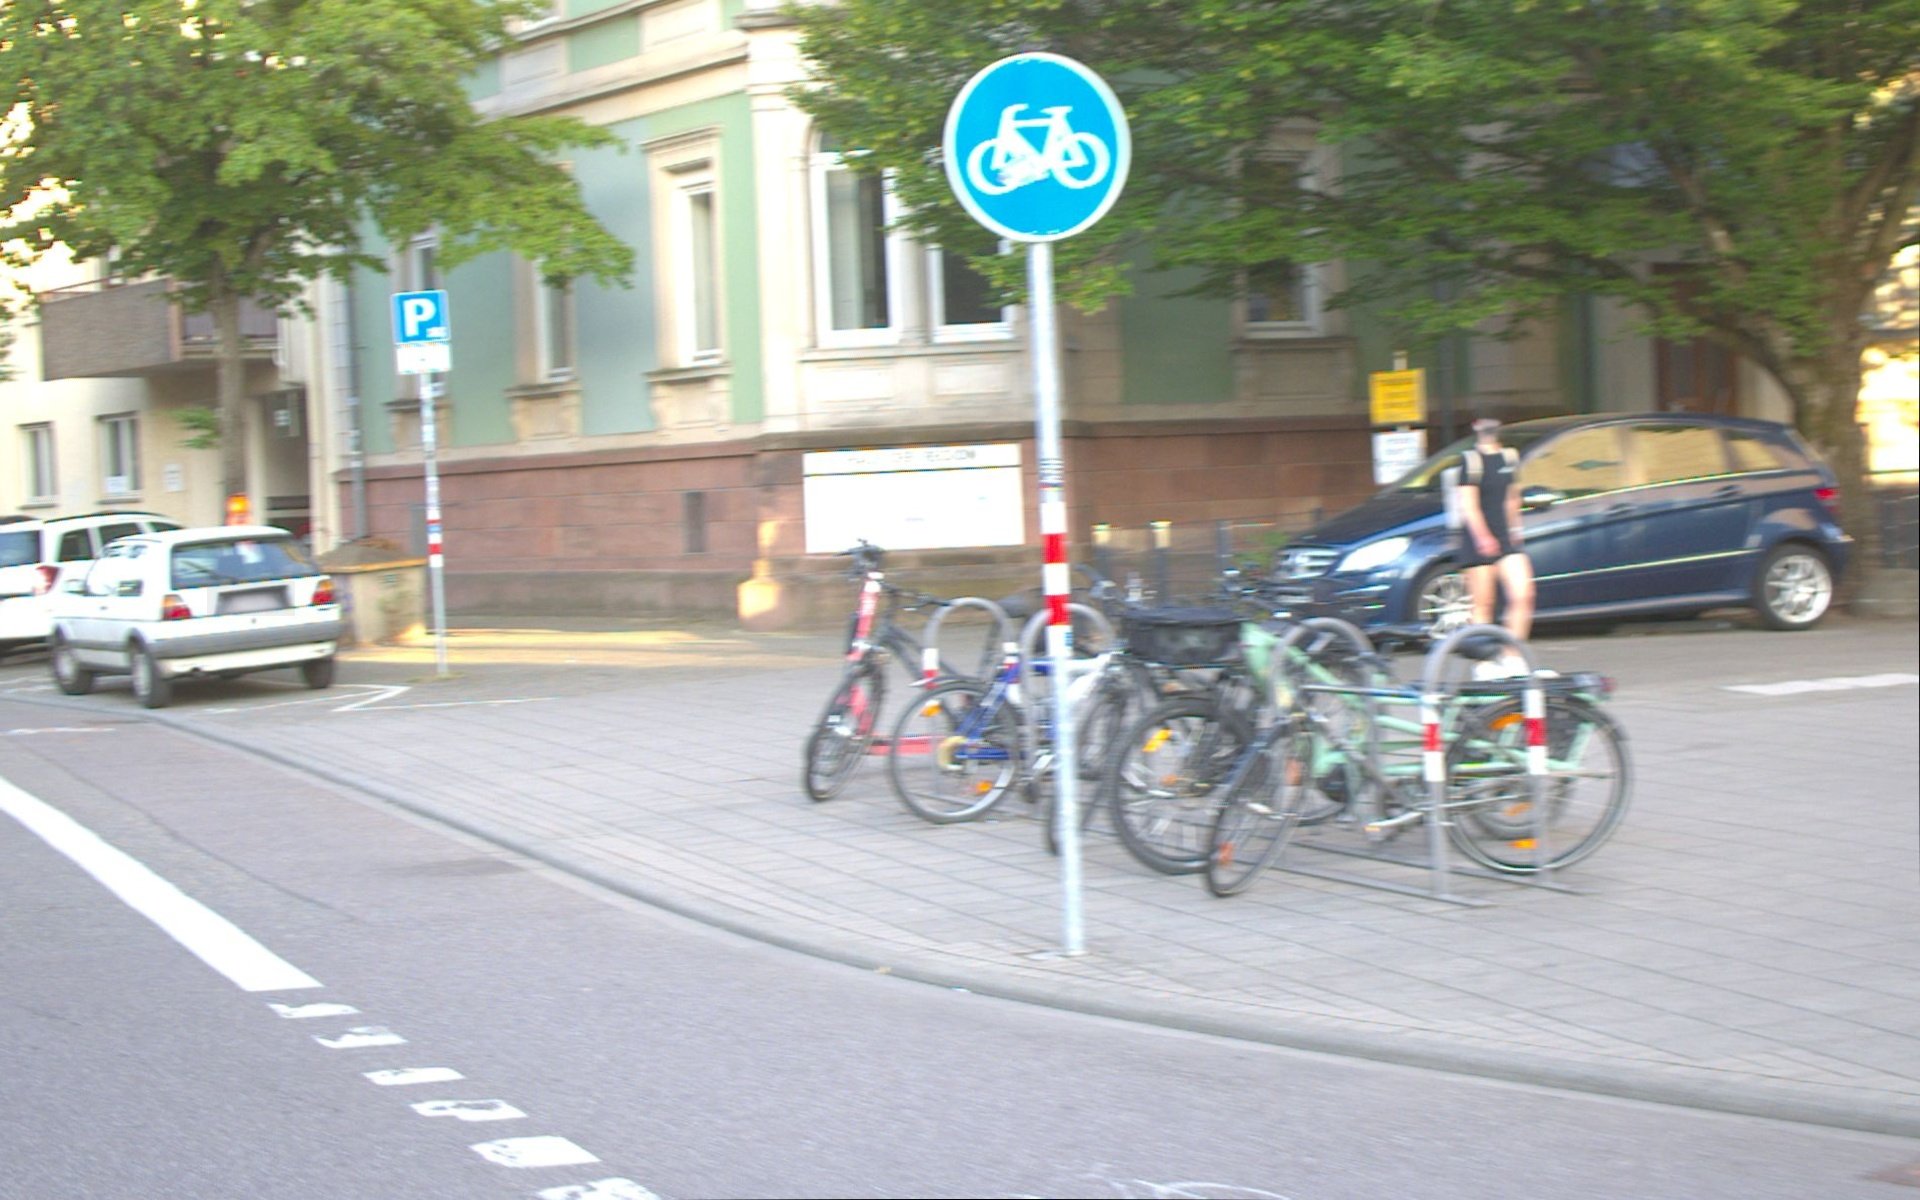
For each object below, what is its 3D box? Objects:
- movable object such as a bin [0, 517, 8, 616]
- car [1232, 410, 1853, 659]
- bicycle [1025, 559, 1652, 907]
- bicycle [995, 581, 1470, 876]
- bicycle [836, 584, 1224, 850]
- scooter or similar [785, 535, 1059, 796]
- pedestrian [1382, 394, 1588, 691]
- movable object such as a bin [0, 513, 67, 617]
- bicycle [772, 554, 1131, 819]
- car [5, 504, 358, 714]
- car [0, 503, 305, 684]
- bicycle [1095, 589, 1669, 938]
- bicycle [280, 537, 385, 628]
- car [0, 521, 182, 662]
[{"bbox_3d":[-15.377,-0.493,52.702,1.072,1.496,1.319,-3,2,-35],"label":"movable object such as a bin"},{"bbox_3d":[4.163,-0.510,24.633,3.983,1.568,1.804,-3,3,-20],"label":"car"},{"bbox_3d":[1.452,0.477,13.182,2.230,1.128,0.744,-4,2,-18],"label":"bicycle"},{"bbox_3d":[1.110,0.499,14.050,1.754,1.071,0.744,-3,2,-18],"label":"bicycle"},{"bbox_3d":[0.308,0.504,15.448,1.550,1.071,0.744,-3,2,-18],"label":"bicycle"},{"bbox_3d":[-0.197,0.320,17.609,1.199,1.221,0.591,-5,3,-19],"label":"scooter or similar"},{"bbox_3d":[3.217,-0.355,21.099,0.706,1.761,0.989,-3,2,-35],"label":"pedestrian"},{"bbox_3d":[-14.221,-0.527,51.685,1.140,1.496,1.270,-3,2,-34],"label":"movable object such as a bin"},{"bbox_3d":[-0.045,0.394,16.469,1.525,1.158,0.744,-3,2,-18],"label":"bicycle"},{"bbox_3d":[-6.783,0.041,29.667,1.680,1.547,4.000,-7,4,-31],"label":"car"},{"bbox_3d":[-8.859,-0.115,36.053,1.719,1.719,4.205,0,2,26],"label":"car"},{"bbox_3d":[1.458,0.556,12.090,1.859,1.071,0.744,-3,2,-2],"label":"bicycle"},{"bbox_3d":[-7.638,-0.216,41.818,0.651,1.071,1.556,-3,2,-34],"label":"bicycle"},{"bbox_3d":[-10.672,-0.079,38.119,1.642,1.449,4.204,-1,2,27],"label":"car"}]
